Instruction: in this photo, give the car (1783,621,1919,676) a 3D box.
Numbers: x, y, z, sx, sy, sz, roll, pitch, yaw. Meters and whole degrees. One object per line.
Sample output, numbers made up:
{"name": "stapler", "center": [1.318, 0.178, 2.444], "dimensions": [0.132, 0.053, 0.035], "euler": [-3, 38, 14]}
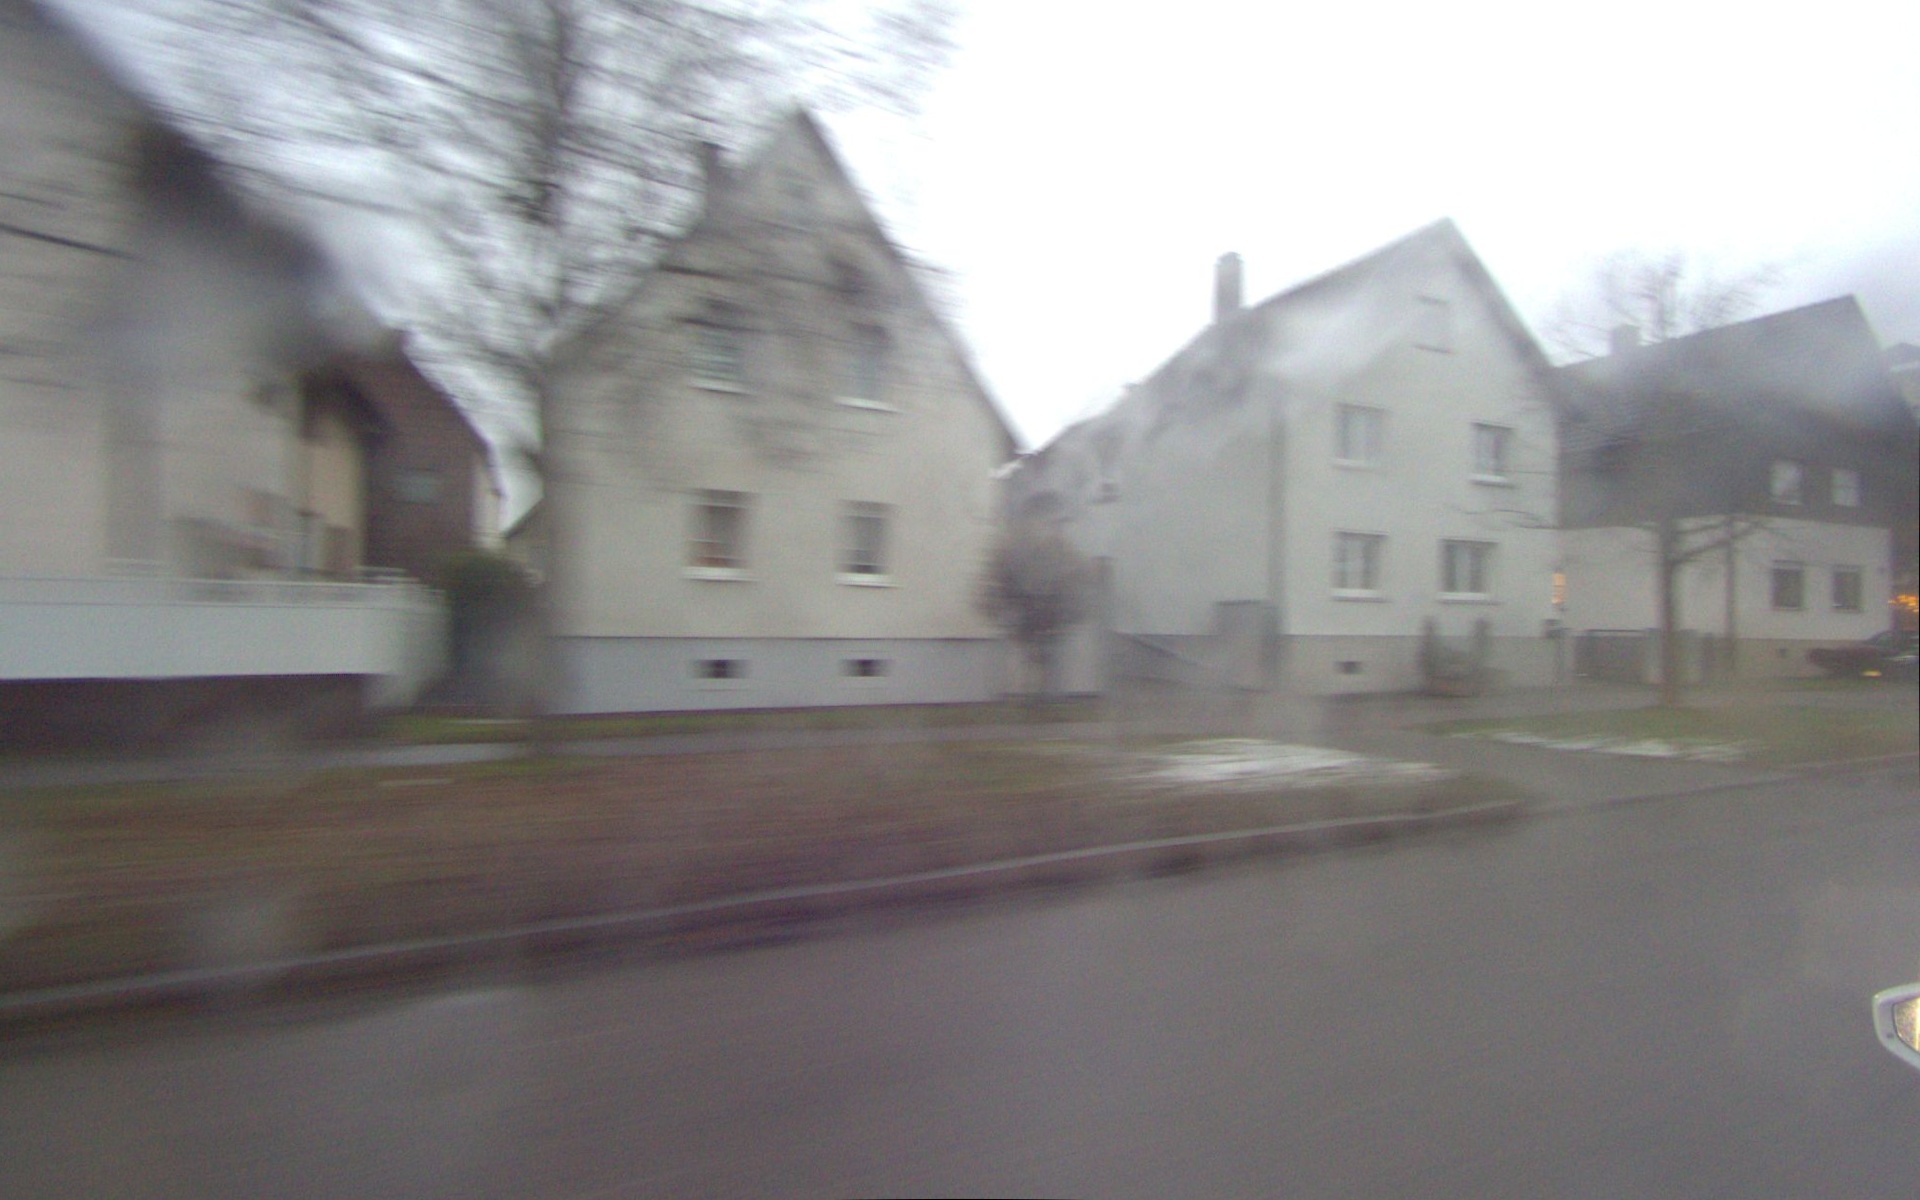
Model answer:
{"name": "car", "center": [24.946, 1.332, 27.728], "dimensions": [3.941, 1.384, 1.778], "euler": [2, -1, -22]}
